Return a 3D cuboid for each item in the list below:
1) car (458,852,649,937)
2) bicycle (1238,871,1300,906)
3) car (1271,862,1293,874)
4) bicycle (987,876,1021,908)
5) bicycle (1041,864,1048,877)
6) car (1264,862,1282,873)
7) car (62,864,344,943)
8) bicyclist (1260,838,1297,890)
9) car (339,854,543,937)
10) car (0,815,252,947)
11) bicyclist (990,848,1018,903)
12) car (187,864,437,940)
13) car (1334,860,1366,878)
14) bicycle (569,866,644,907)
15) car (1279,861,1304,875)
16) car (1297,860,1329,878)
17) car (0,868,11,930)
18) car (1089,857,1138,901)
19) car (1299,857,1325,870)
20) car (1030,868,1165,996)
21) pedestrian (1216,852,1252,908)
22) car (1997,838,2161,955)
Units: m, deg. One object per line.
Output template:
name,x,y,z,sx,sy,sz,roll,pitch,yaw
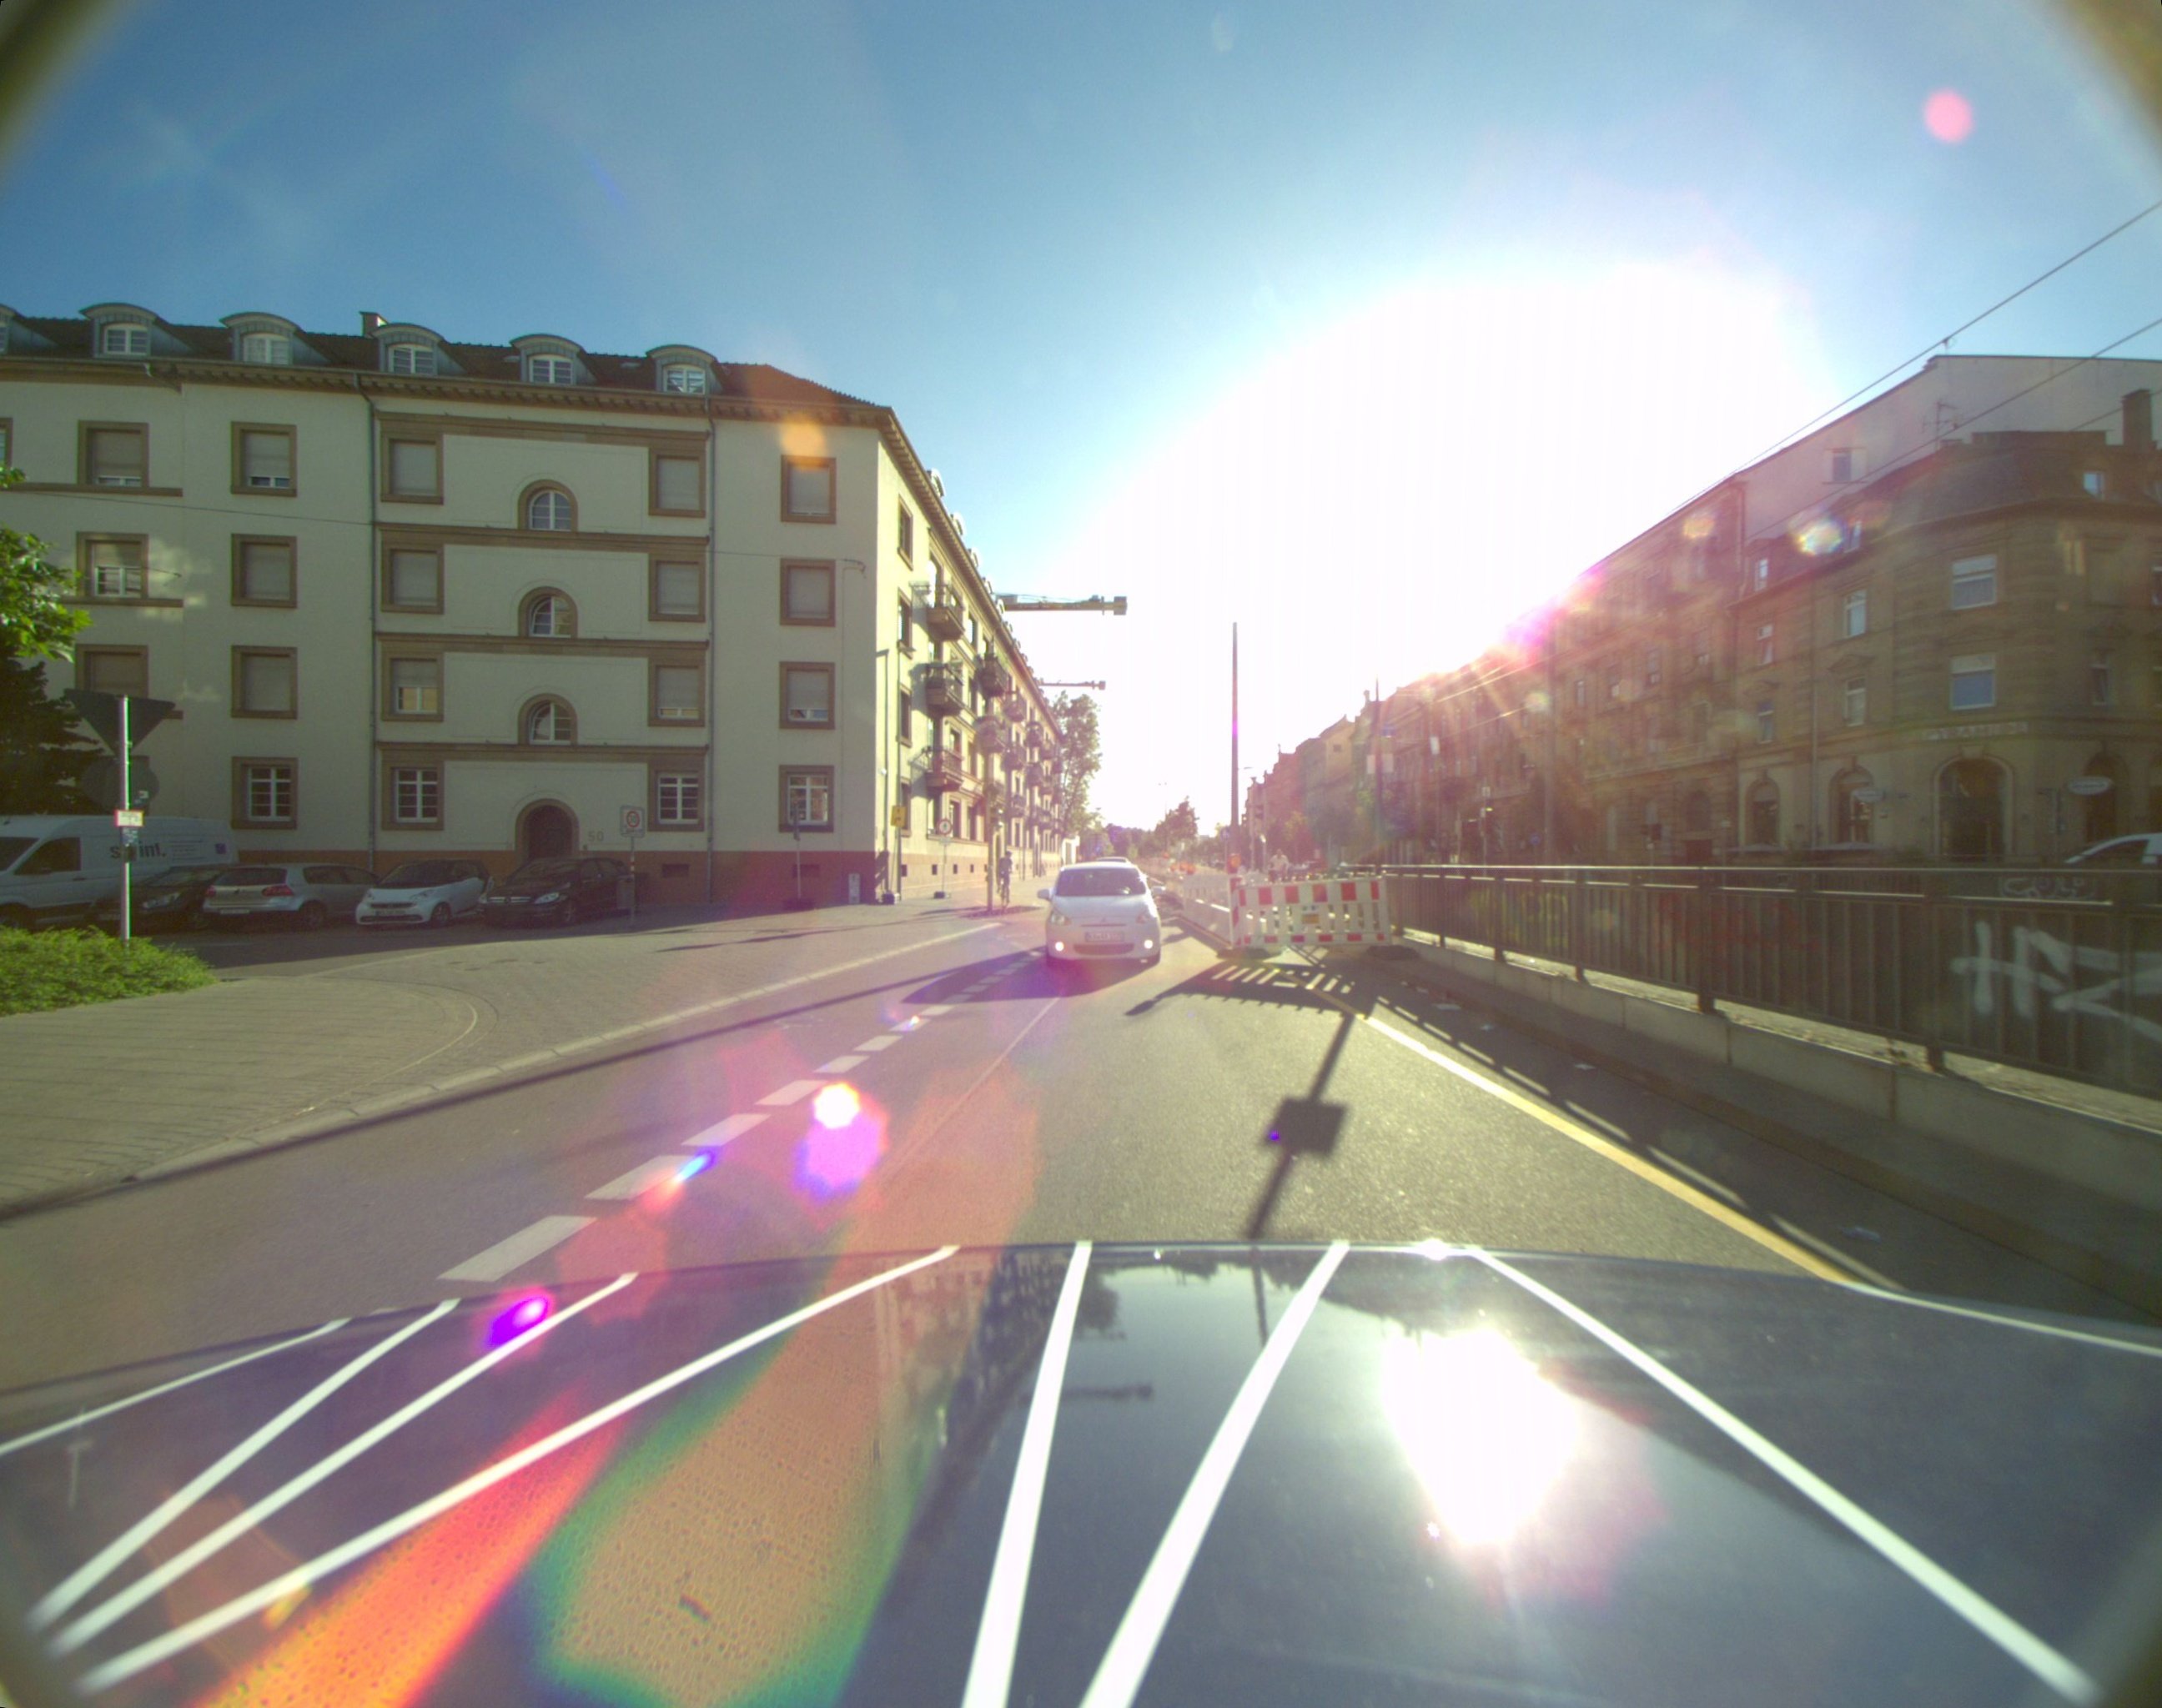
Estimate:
car,-12.499,0.861,18.426,1.697,1.677,4.437,-2,1,-4
bicycle,6.631,1.198,26.839,1.999,1.147,0.854,0,0,-23
car,28.061,1.975,106.049,1.998,1.528,4.986,-2,-1,4
bicycle,-2.452,1.197,24.557,0.769,0.947,2.199,0,0,3
bicycle,-3.170,1.434,66.085,0.419,1.089,2.199,0,0,4
car,28.485,2.031,112.724,1.752,1.470,4.029,-2,-1,4
car,-20.198,1.044,17.848,1.697,1.470,4.437,-2,1,-6
bicyclist,6.818,0.354,26.265,0.886,1.763,0.854,0,0,-23
car,-15.197,0.873,18.409,1.628,1.677,4.436,-1,1,-8
car,-22.365,0.458,16.827,1.929,2.595,5.957,0,2,-7
bicyclist,-2.465,0.678,24.389,0.734,1.752,0.938,0,0,3
car,-17.708,1.011,17.882,1.698,1.421,4.436,-2,1,-7
car,27.237,1.483,77.159,1.942,1.648,4.546,-2,-1,5
bicycle,-13.823,0.949,22.166,1.810,1.158,0.406,0,1,-10
car,27.615,1.810,99.786,1.998,1.687,4.889,-2,-1,3
car,21.345,1.353,70.028,1.800,1.630,4.478,0,0,4
car,-26.644,1.081,16.288,1.694,1.481,4.000,-2,-1,0
car,1.405,0.999,31.916,1.899,1.730,4.001,-1,0,3
car,27.676,1.144,91.220,1.998,1.429,4.309,-2,-1,3
car,0.335,1.004,11.508,1.633,1.499,4.351,-1,0,4
pedestrian,4.051,0.689,20.132,0.791,1.449,0.947,0,0,1
car,18.517,0.661,12.220,1.998,1.869,4.584,-2,-1,0
